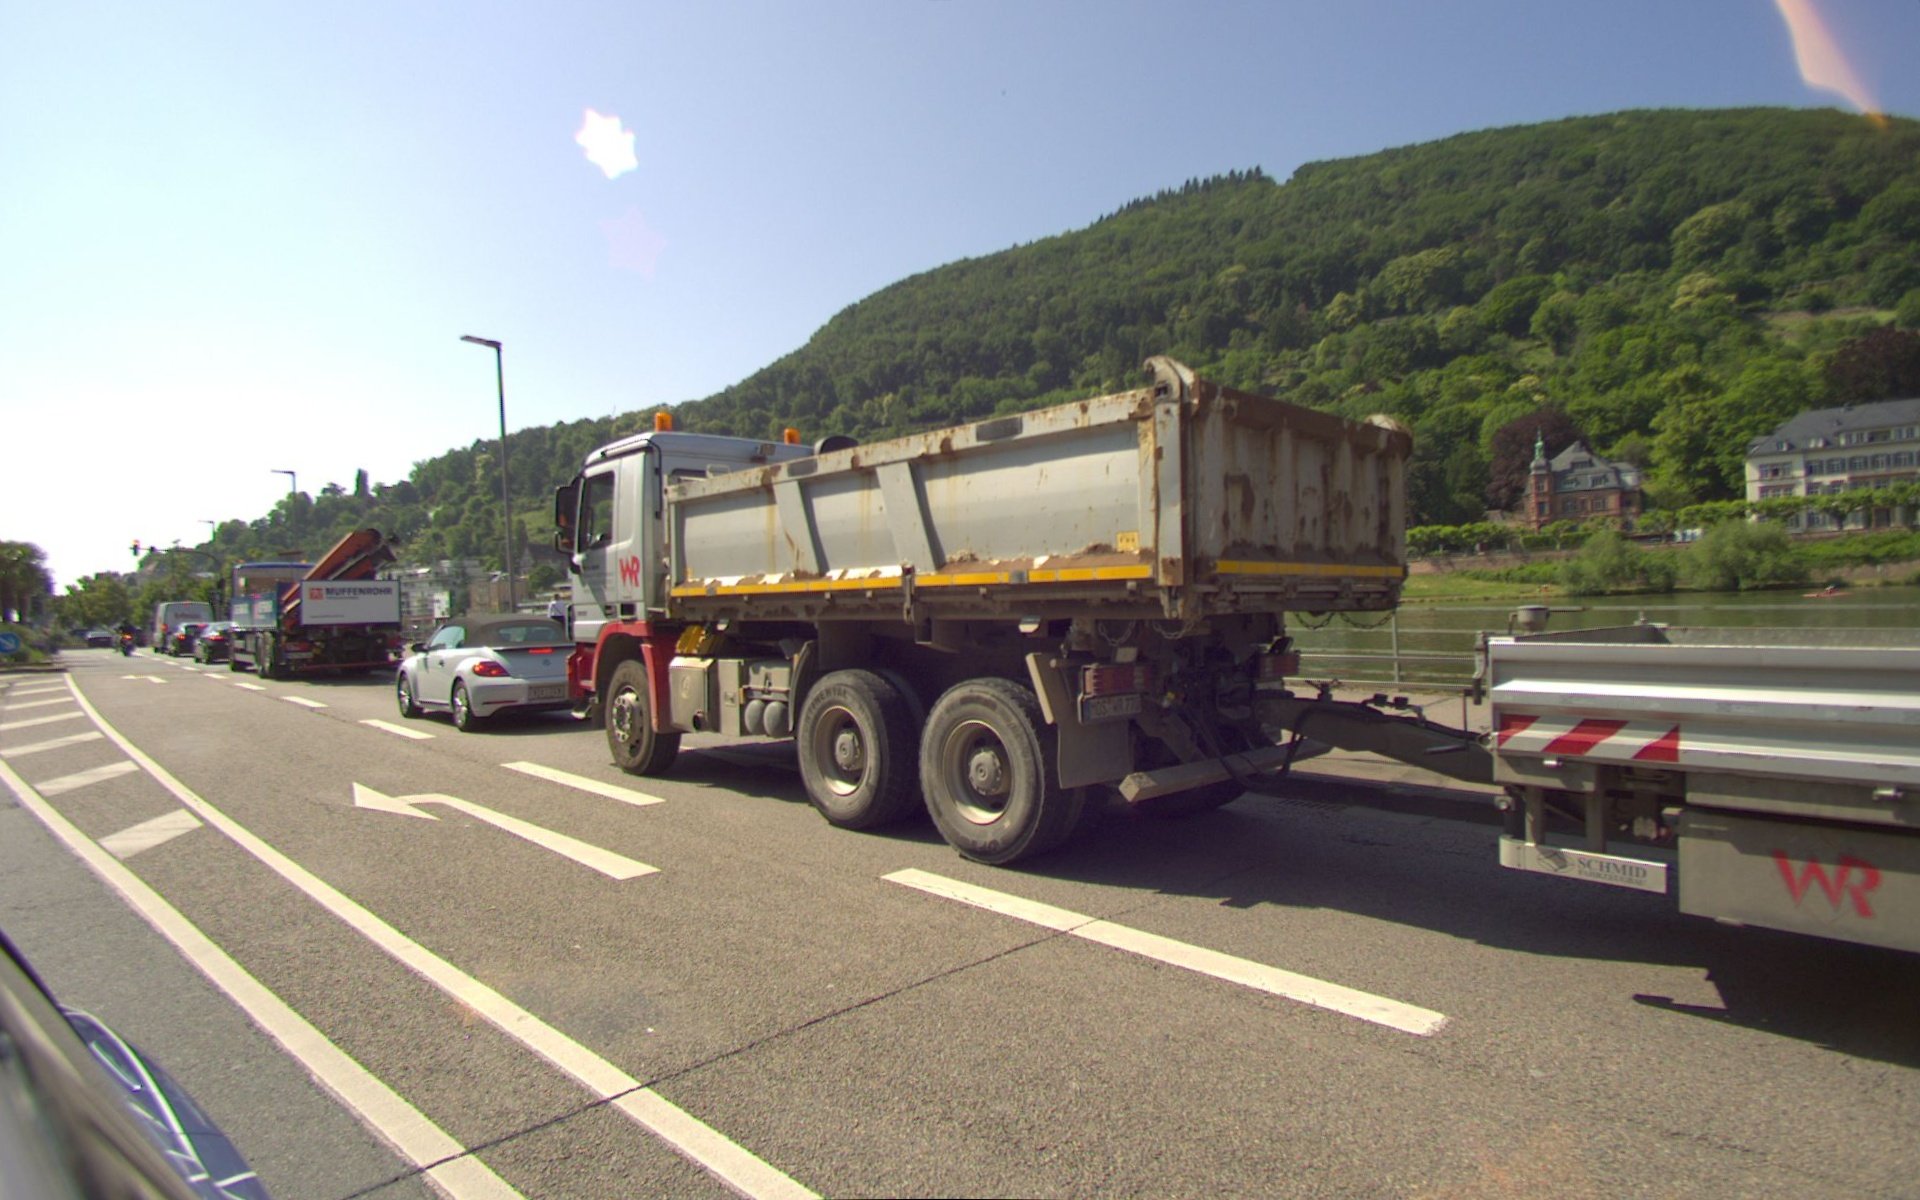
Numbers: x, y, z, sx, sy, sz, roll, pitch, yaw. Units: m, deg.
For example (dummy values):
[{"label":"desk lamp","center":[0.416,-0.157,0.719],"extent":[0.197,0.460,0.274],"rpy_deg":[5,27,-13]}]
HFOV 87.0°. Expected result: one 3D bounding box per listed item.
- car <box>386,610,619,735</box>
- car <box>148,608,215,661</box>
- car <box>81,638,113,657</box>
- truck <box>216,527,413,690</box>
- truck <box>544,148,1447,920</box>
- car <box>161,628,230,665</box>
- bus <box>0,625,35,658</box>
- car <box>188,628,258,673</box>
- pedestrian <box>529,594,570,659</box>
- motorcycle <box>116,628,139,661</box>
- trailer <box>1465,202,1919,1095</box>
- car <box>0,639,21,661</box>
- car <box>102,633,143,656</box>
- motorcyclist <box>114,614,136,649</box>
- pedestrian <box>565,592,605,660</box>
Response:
[{"label":"car","center":[-6.498,0.911,14.149],"extent":[1.757,1.454,4.001],"rpy_deg":[-1,-1,-43]},{"label":"car","center":[-38.737,1.725,50.318],"extent":[2.168,2.545,4.753],"rpy_deg":[2,-3,-43]},{"label":"car","center":[-71.868,3.950,84.242],"extent":[1.880,1.447,3.896],"rpy_deg":[-2,0,-42]},{"label":"truck","center":[-17.419,0.329,26.813],"extent":[2.610,3.503,11.121],"rpy_deg":[-1,-1,-42]},{"label":"truck","center":[-0.602,-0.224,8.336],"extent":[2.611,3.483,7.878],"rpy_deg":[1,-2,-43]},{"label":"car","center":[-33.338,1.994,44.068],"extent":[1.969,1.429,4.926],"rpy_deg":[-1,-1,-42]},{"label":"bus","center":[-102.919,4.493,109.458],"extent":[10.783,3.413,2.623],"rpy_deg":[-2,-1,39]},{"label":"car","center":[-26.056,1.741,35.737],"extent":[1.637,1.447,4.087],"rpy_deg":[-1,-1,-41]},{"label":"pedestrian","center":[-11.208,0.717,27.612],"extent":[0.703,1.719,0.846],"rpy_deg":[-5,1,-41]},{"label":"motorcycle","center":[-36.852,1.966,44.781],"extent":[0.717,1.397,2.515],"rpy_deg":[-1,-1,-41]},{"label":"trailer","center":[5.247,0.104,2.170],"extent":[2.665,2.550,6.953],"rpy_deg":[1,-1,-43]},{"label":"car","center":[-67.963,3.572,71.693],"extent":[1.969,1.517,4.598],"rpy_deg":[-1,-2,-41]},{"label":"car","center":[-60.641,3.216,73.246],"extent":[1.970,1.463,4.265],"rpy_deg":[-3,0,-43]},{"label":"motorcyclist","center":[-37.113,1.390,44.985],"extent":[0.693,1.538,0.862],"rpy_deg":[-1,-1,-41]},{"label":"pedestrian","center":[-10.369,0.721,28.010],"extent":[0.758,1.817,0.636],"rpy_deg":[-4,1,-41]}]
